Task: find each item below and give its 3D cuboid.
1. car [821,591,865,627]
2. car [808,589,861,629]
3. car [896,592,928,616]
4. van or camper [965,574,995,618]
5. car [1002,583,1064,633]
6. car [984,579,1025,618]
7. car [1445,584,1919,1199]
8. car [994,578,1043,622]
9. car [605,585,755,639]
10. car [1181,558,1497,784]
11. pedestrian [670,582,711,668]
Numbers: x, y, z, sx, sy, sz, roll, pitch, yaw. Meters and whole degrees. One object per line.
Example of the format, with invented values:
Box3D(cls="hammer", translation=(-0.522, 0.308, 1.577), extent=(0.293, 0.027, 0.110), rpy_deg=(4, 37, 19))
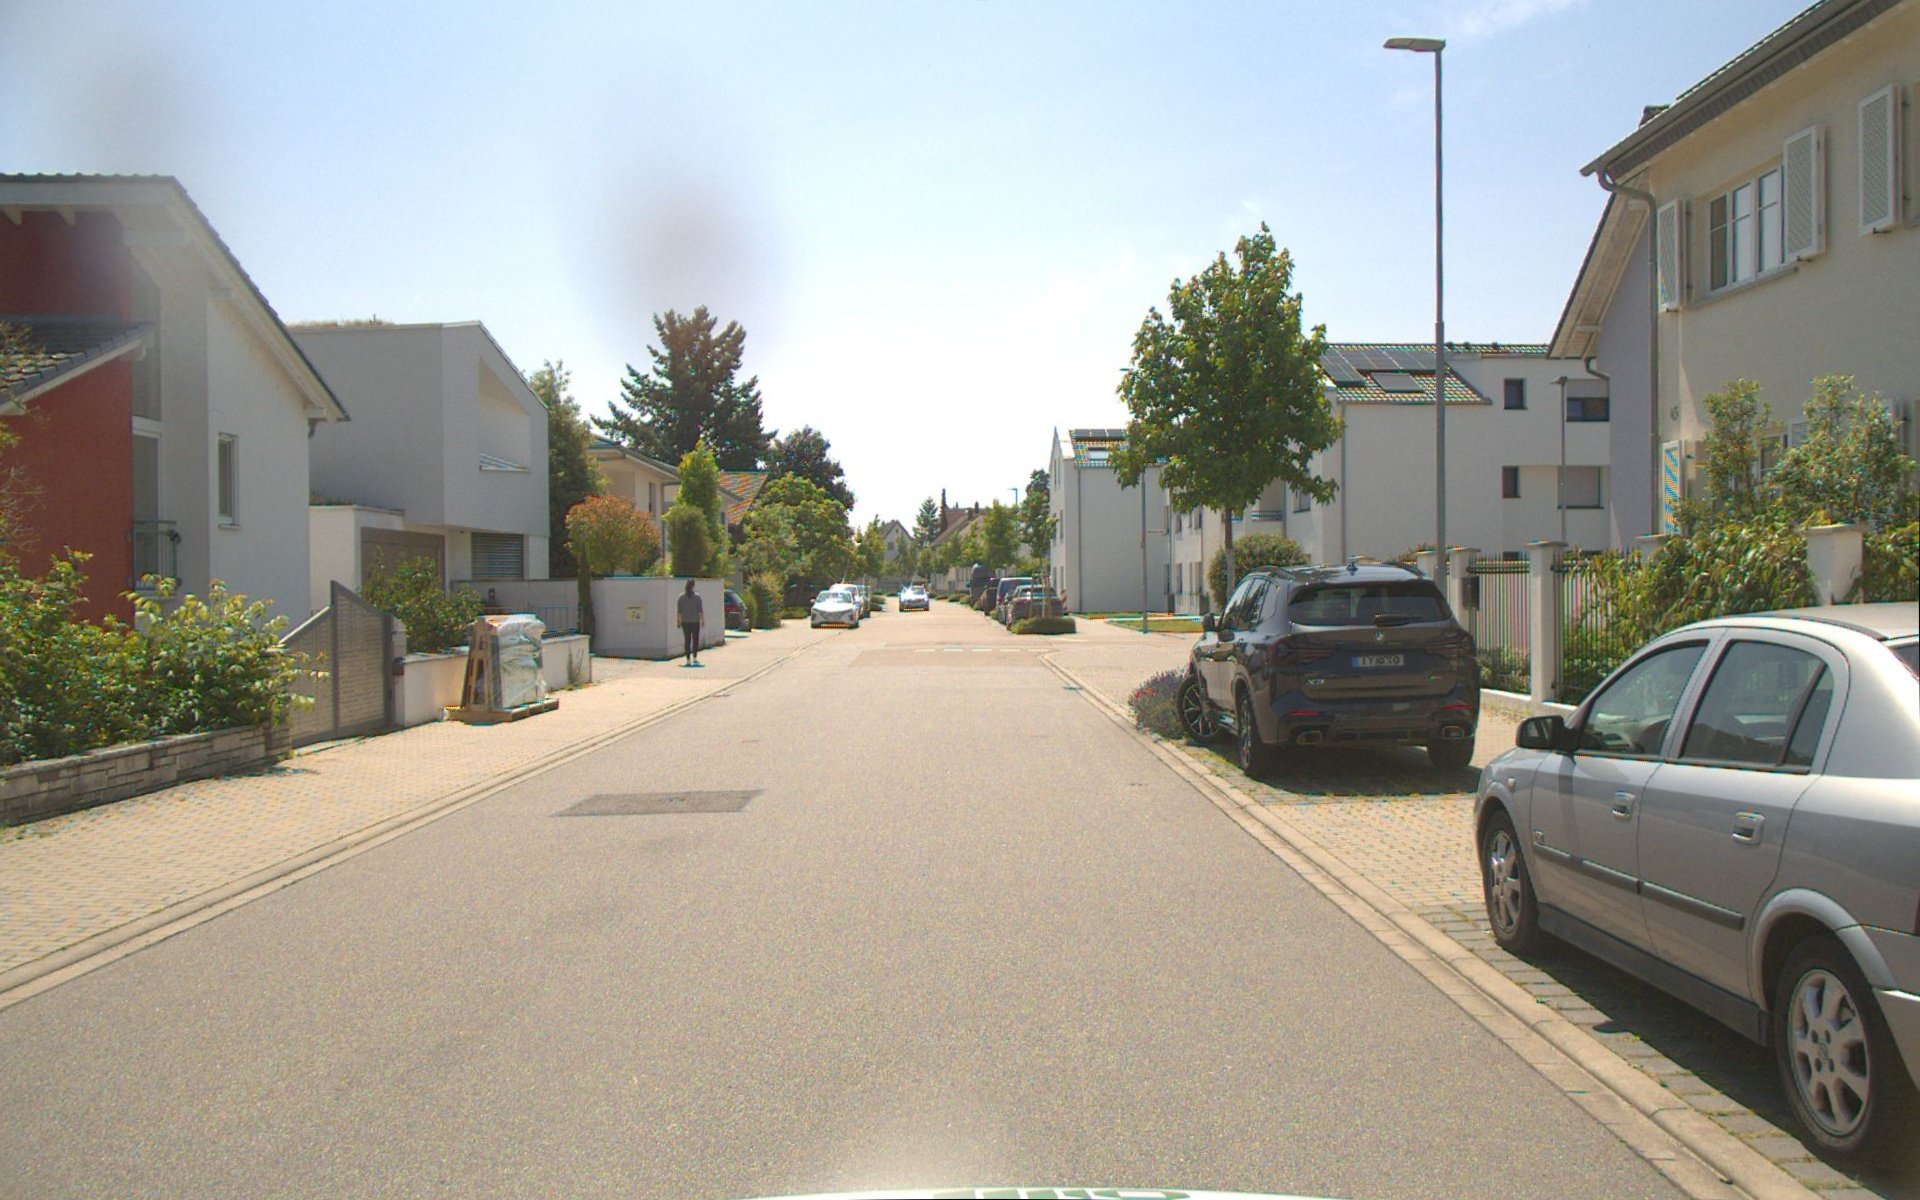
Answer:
Box3D(cls="car", translation=(-5.747, 0.425, 81.708), extent=(1.888, 1.716, 4.498), rpy_deg=(-1, 0, -1))
Box3D(cls="car", translation=(-5.025, 0.342, 66.752), extent=(1.814, 1.514, 4.385), rpy_deg=(-1, 0, -1))
Box3D(cls="car", translation=(-3.031, 0.231, 105.574), extent=(1.814, 1.504, 4.700), rpy_deg=(-1, 0, 1))
Box3D(cls="van or camper", translation=(1.362, -0.285, 114.156), extent=(1.953, 2.993, 3.999), rpy_deg=(0, 0, -1))
Box3D(cls="car", translation=(2.524, 0.257, 58.262), extent=(1.738, 1.623, 4.276), rpy_deg=(-2, 0, -3))
Box3D(cls="car", translation=(2.384, -0.089, 89.304), extent=(1.953, 1.981, 5.214), rpy_deg=(-2, 0, -1))
Box3D(cls="car", translation=(3.166, 0.678, 5.715), extent=(1.777, 1.445, 4.093), rpy_deg=(-1, 0, 0))
Box3D(cls="car", translation=(2.619, -0.021, 75.119), extent=(2.056, 1.915, 4.843), rpy_deg=(-1, 0, 0))
Box3D(cls="car", translation=(-8.837, 0.371, 52.427), extent=(4.336, 1.499, 1.851), rpy_deg=(3, 0, 3))
Box3D(cls="car", translation=(3.181, 0.503, 14.822), extent=(1.777, 1.685, 4.564), rpy_deg=(-1, 1, 0))
Box3D(cls="pedestrian", translation=(-5.644, 0.511, 34.704), extent=(0.700, 1.777, 0.960), rpy_deg=(-1, 0, -1))
